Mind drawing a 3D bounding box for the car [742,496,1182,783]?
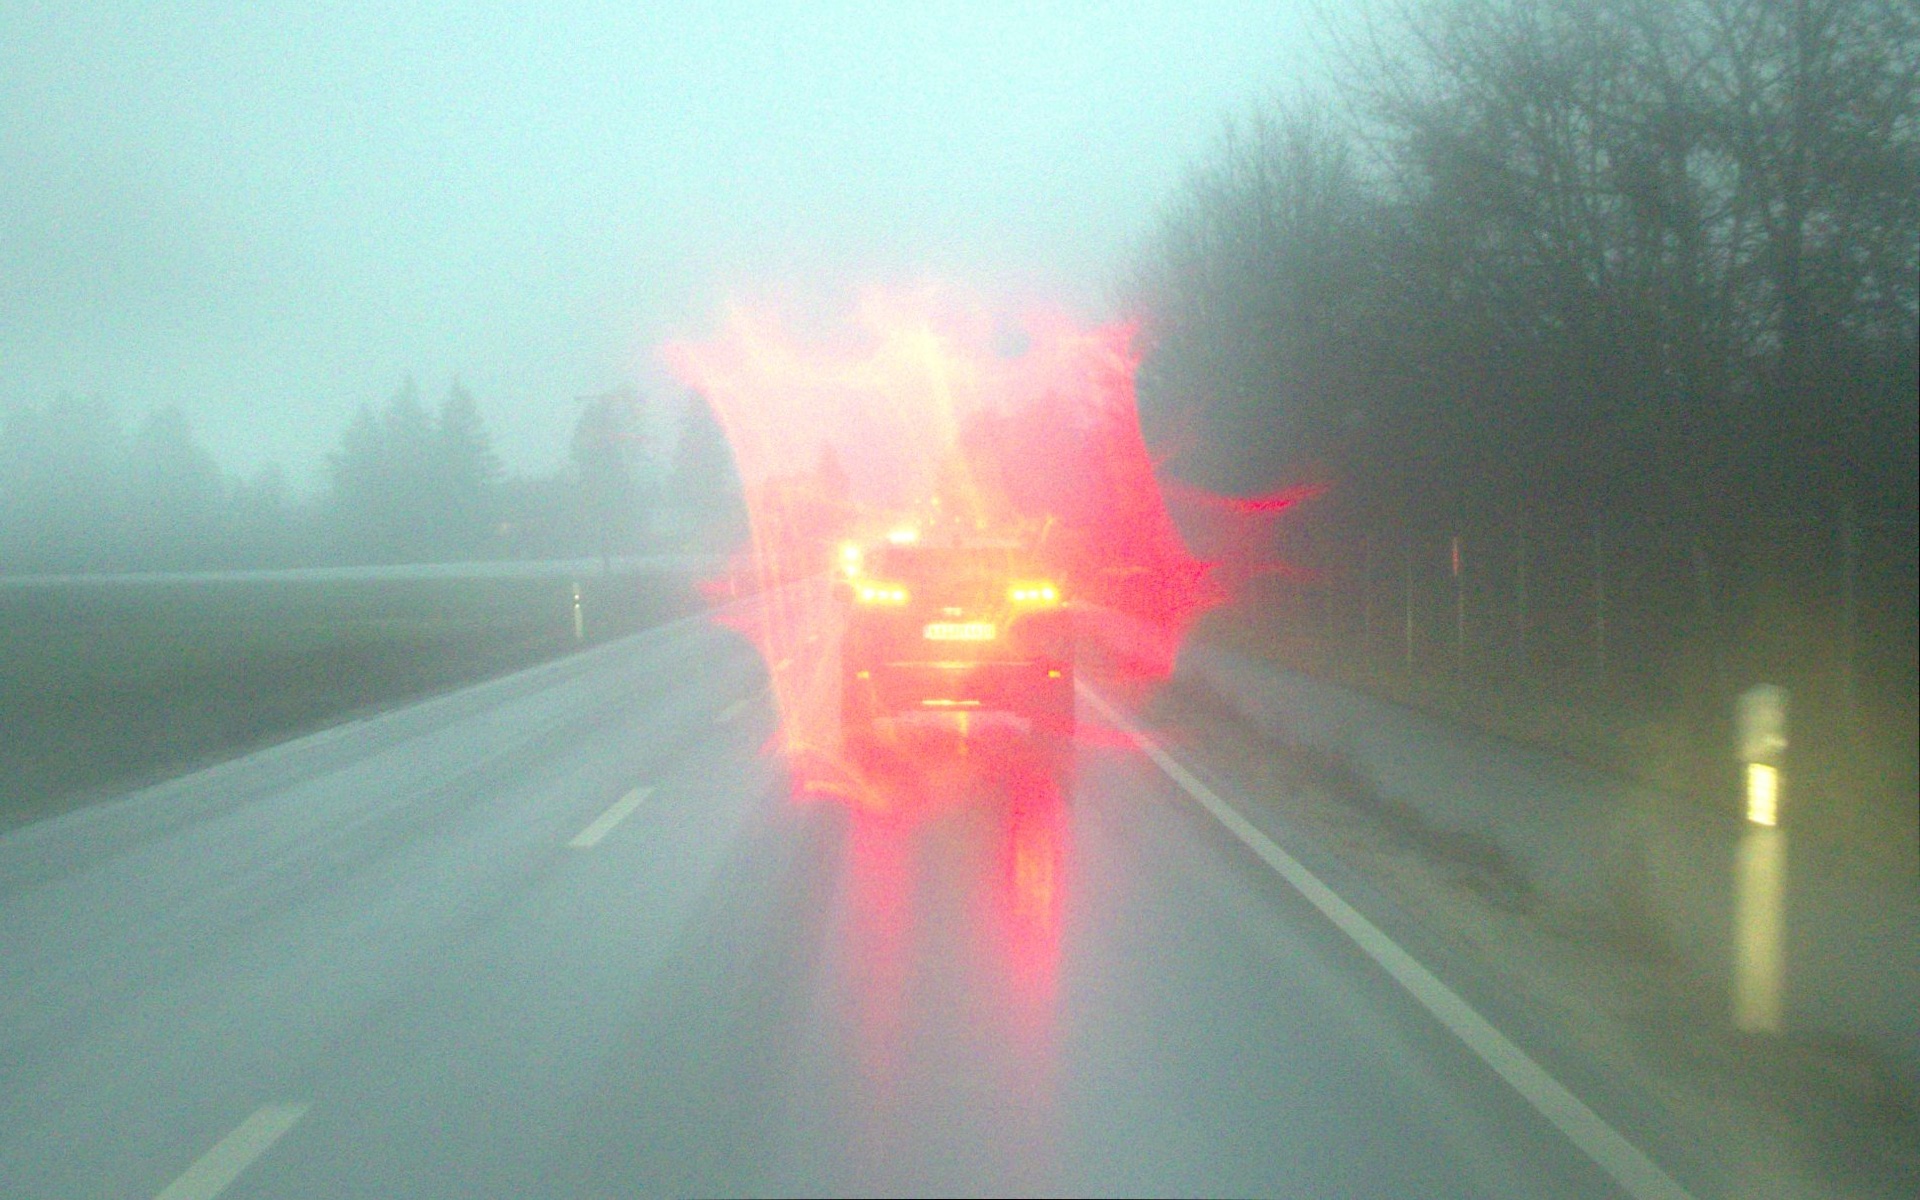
[{"bbox_3d":[0.000,0.213,28.507,3.164,2.028,6.852,-1,1,0],"label":"car"}]

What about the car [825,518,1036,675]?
[{"bbox_3d":[-0.403,-0.120,48.921,2.756,2.028,6.591,-1,1,0],"label":"car"}]
